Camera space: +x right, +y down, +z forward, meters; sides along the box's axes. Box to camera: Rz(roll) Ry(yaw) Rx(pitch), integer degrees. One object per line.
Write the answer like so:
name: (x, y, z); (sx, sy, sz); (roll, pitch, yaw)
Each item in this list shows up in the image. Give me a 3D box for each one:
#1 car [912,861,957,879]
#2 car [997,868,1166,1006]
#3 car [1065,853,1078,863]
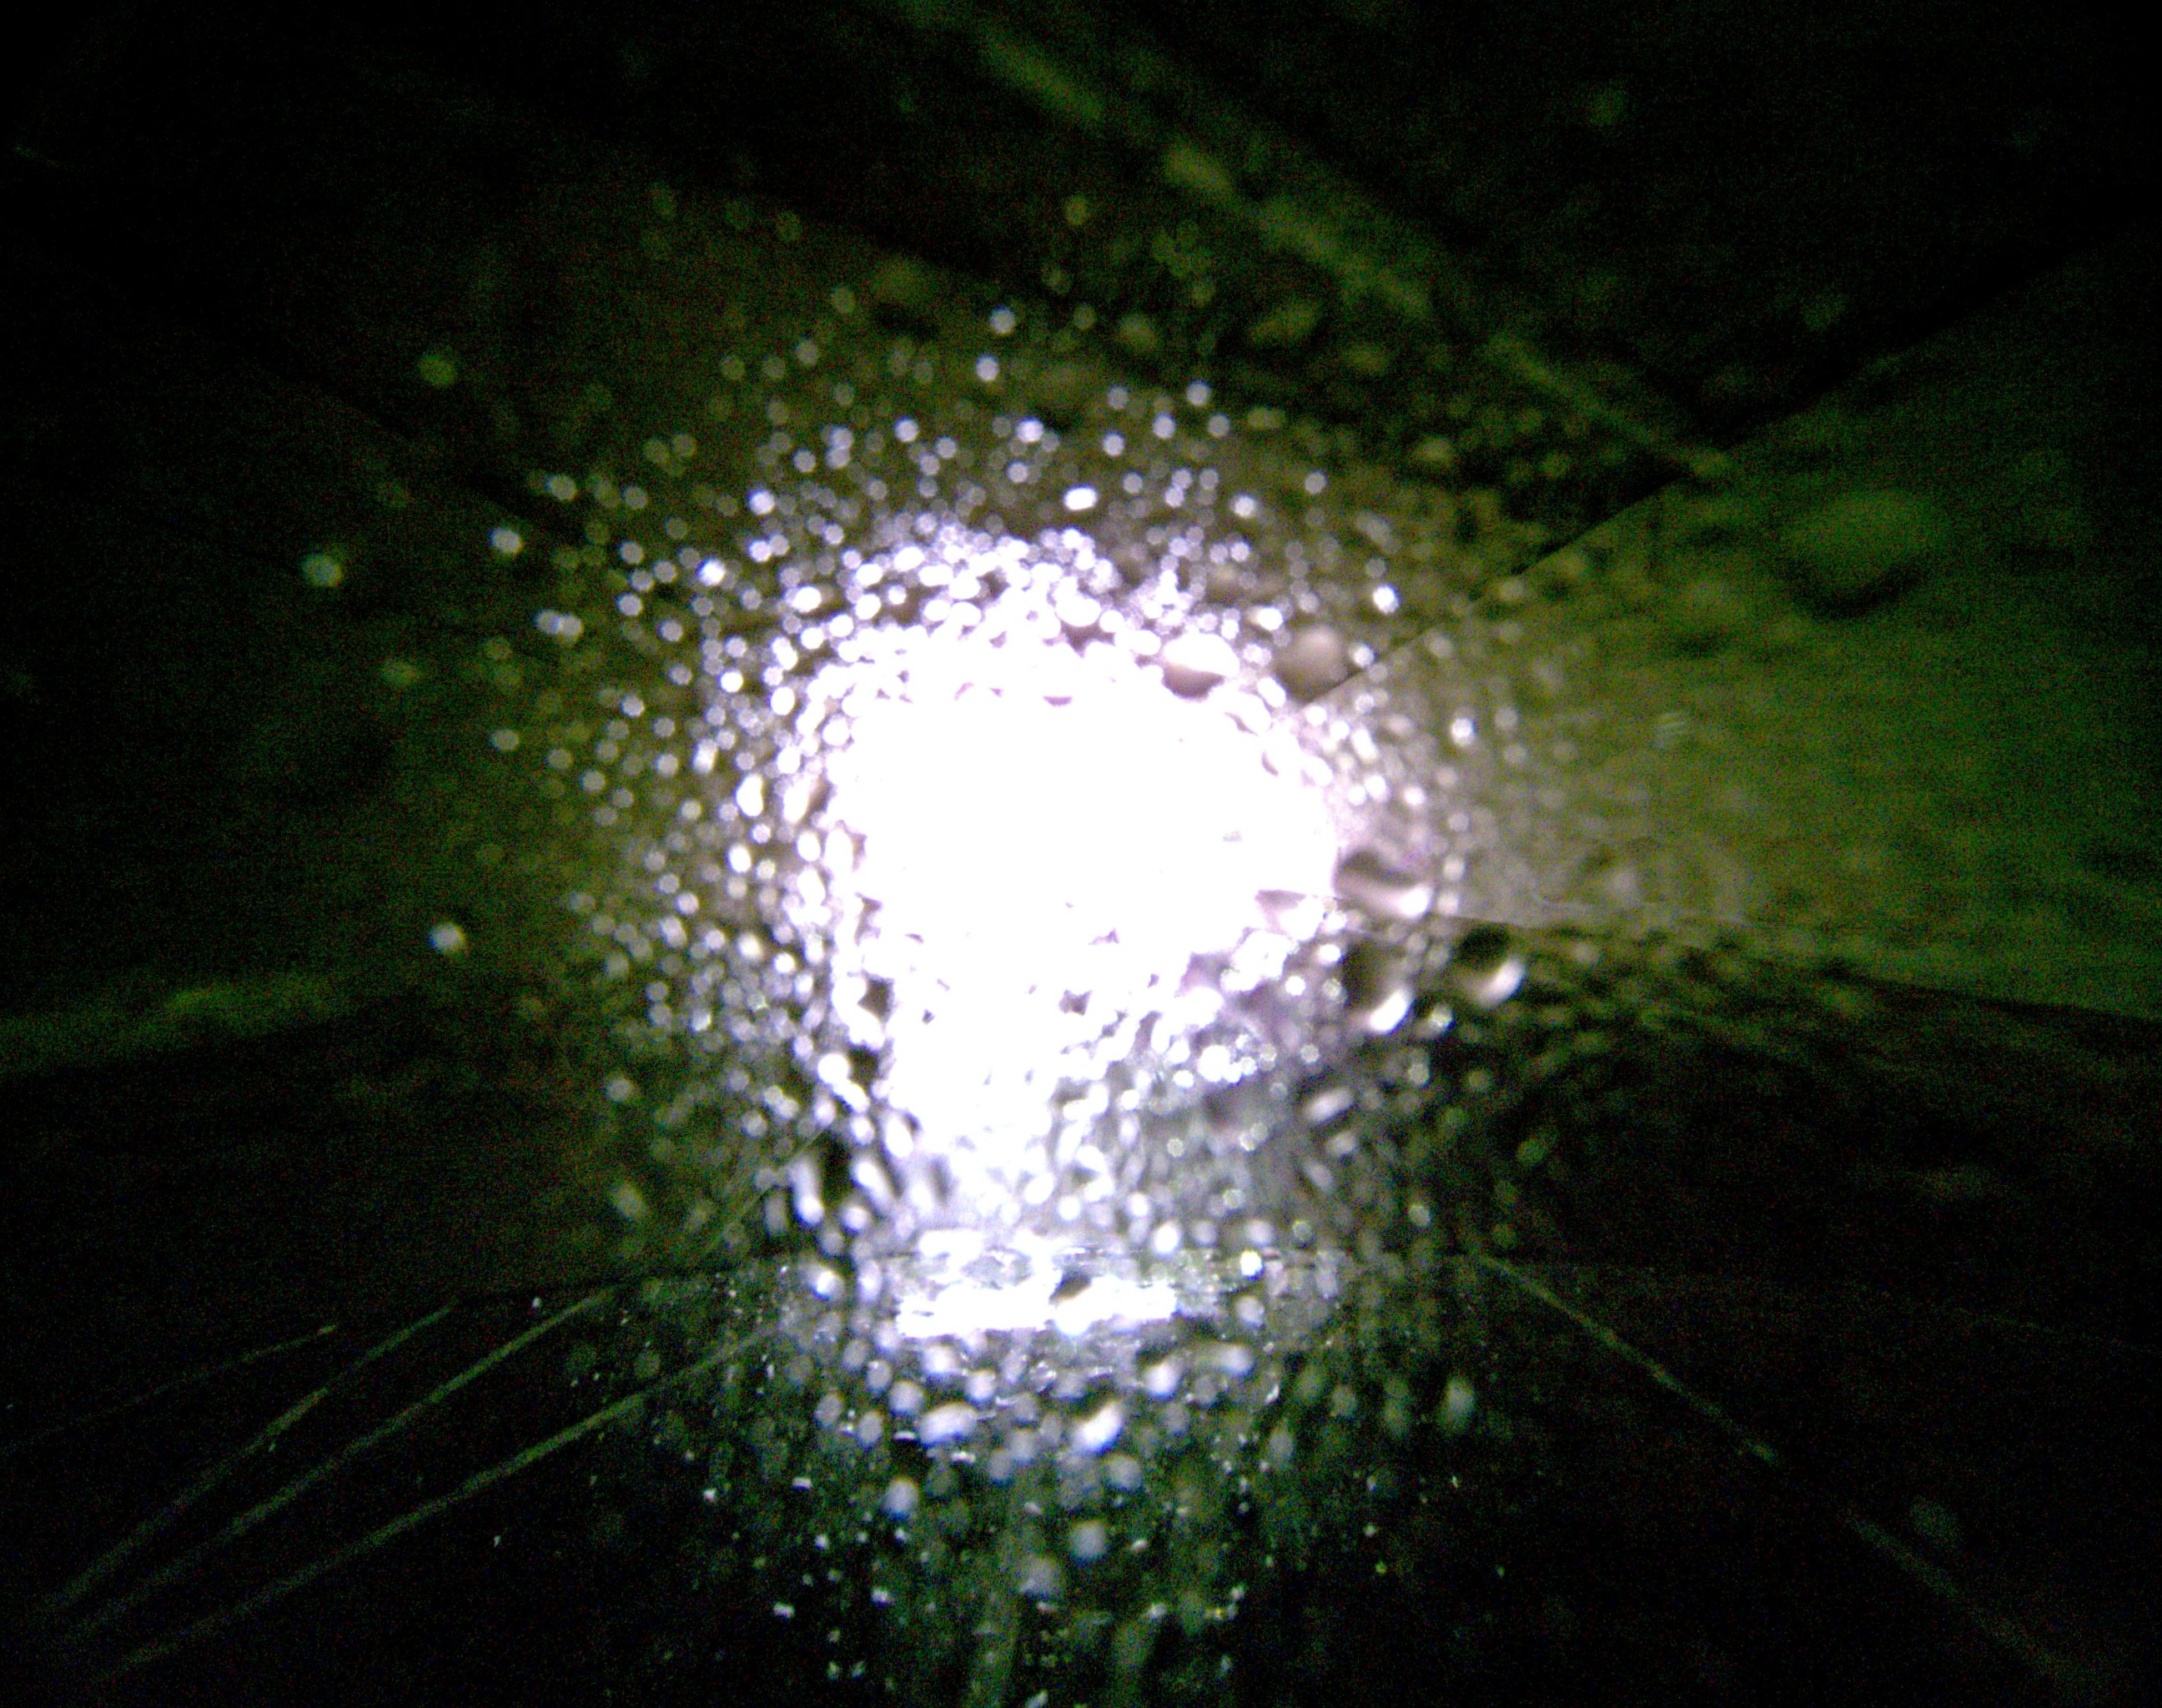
car: (-14.054, 1.550, 72.923); (3.863, 1.523, 1.715); (-3, 1, -34)
car: (-0.068, 0.941, 10.497); (1.767, 1.316, 4.548); (-3, 0, -2)
car: (-1.449, 0.576, 112.191); (1.695, 1.478, 4.071); (-2, 0, -4)
